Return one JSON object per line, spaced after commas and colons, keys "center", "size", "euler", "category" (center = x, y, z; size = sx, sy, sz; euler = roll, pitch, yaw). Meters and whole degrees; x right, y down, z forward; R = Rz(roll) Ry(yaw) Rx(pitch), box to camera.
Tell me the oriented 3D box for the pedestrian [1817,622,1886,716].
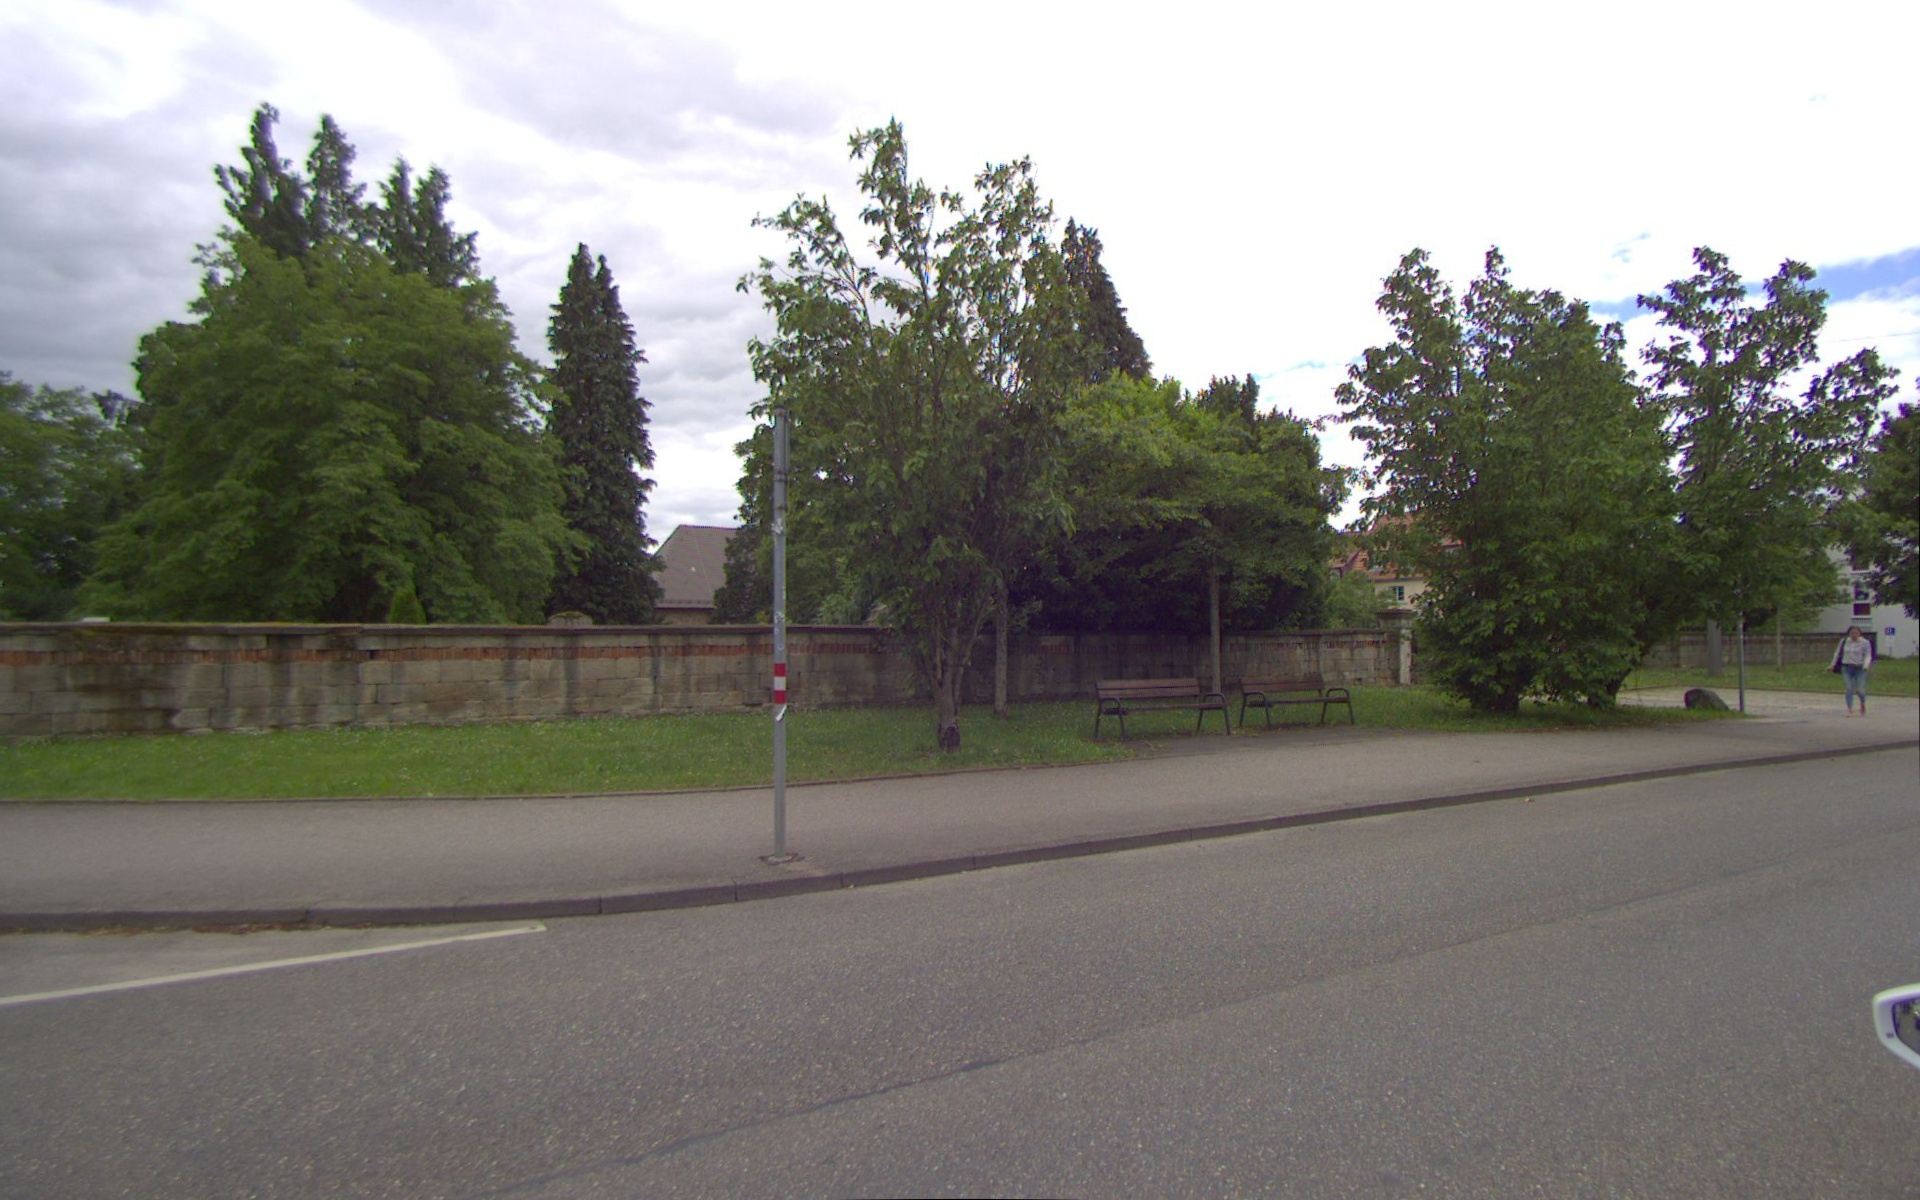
{"center": [17.392, 1.323, 19.602], "size": [0.894, 1.771, 0.763], "euler": [1, -1, -30], "category": "pedestrian"}
